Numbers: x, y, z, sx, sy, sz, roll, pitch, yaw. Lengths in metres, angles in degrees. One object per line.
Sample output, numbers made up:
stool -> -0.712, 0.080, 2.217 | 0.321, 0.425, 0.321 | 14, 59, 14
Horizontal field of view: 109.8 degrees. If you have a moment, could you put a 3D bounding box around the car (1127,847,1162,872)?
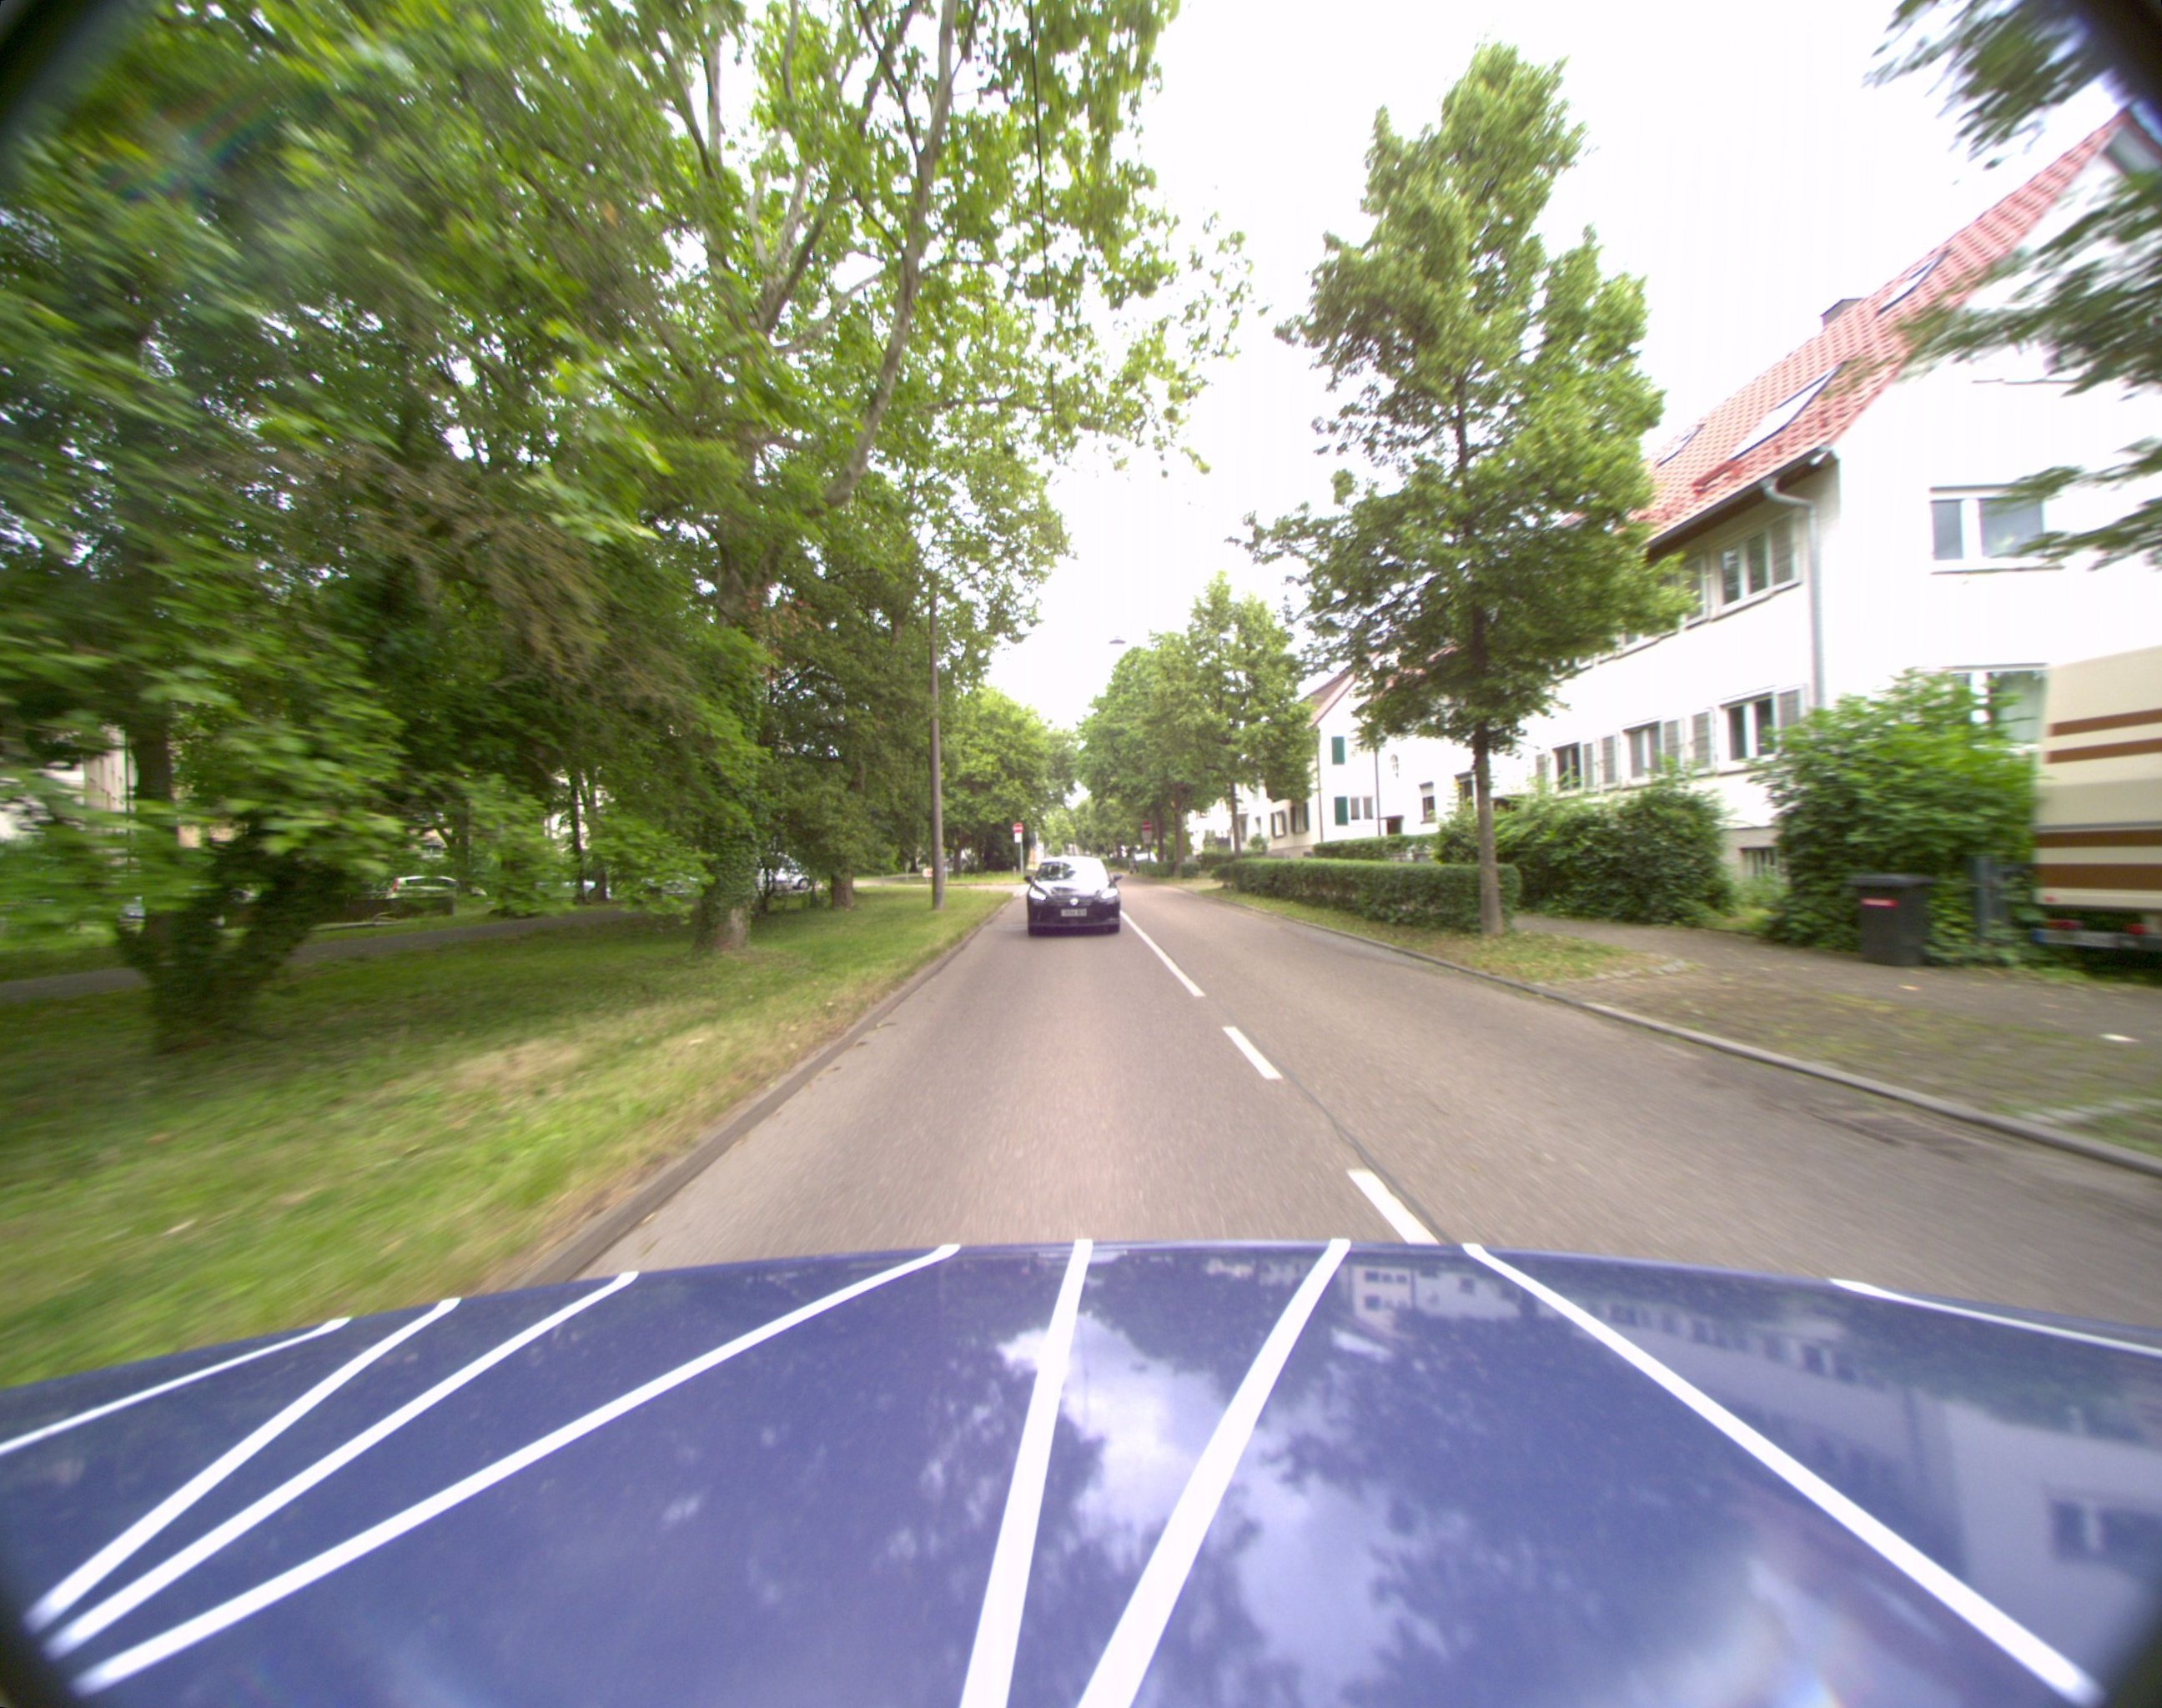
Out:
car -> 4.666, 0.395, 56.281 | 1.830, 1.743, 4.451 | -3, 0, -5

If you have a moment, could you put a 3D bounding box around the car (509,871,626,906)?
car -> -25.975, 1.698, 38.549 | 1.795, 1.501, 4.613 | -2, 0, 44

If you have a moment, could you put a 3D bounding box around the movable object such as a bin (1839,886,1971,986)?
movable object such as a bin -> 8.250, 0.802, 7.633 | 0.581, 0.921, 0.693 | -1, 1, 2

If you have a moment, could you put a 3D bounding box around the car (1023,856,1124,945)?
car -> -0.160, 0.864, 16.247 | 1.799, 1.552, 4.470 | -2, 0, -1

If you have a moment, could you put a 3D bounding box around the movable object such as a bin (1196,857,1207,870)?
movable object such as a bin -> 8.539, 0.666, 53.740 | 0.561, 0.935, 0.640 | -2, 1, -7

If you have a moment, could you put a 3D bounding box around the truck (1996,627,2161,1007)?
truck -> 11.755, -0.415, 6.113 | 5.811, 3.113, 2.517 | -2, 0, -2

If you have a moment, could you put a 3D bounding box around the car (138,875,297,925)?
car -> -33.823, 1.752, 29.913 | 1.795, 1.664, 4.008 | -2, 0, 42

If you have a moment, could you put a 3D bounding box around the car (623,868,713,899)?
car -> -22.682, 1.598, 41.823 | 4.007, 1.501, 1.795 | -2, 0, -40

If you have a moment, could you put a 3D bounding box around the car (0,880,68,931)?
car -> -37.796, 1.813, 25.725 | 1.795, 1.664, 4.008 | -2, 0, 42

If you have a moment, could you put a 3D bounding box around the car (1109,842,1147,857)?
car -> 8.161, -0.795, 132.363 | 6.378, 2.334, 1.972 | -2, 0, -25

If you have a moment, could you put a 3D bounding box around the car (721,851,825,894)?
car -> -18.379, 1.086, 45.405 | 5.335, 2.285, 2.287 | -2, 0, -34
